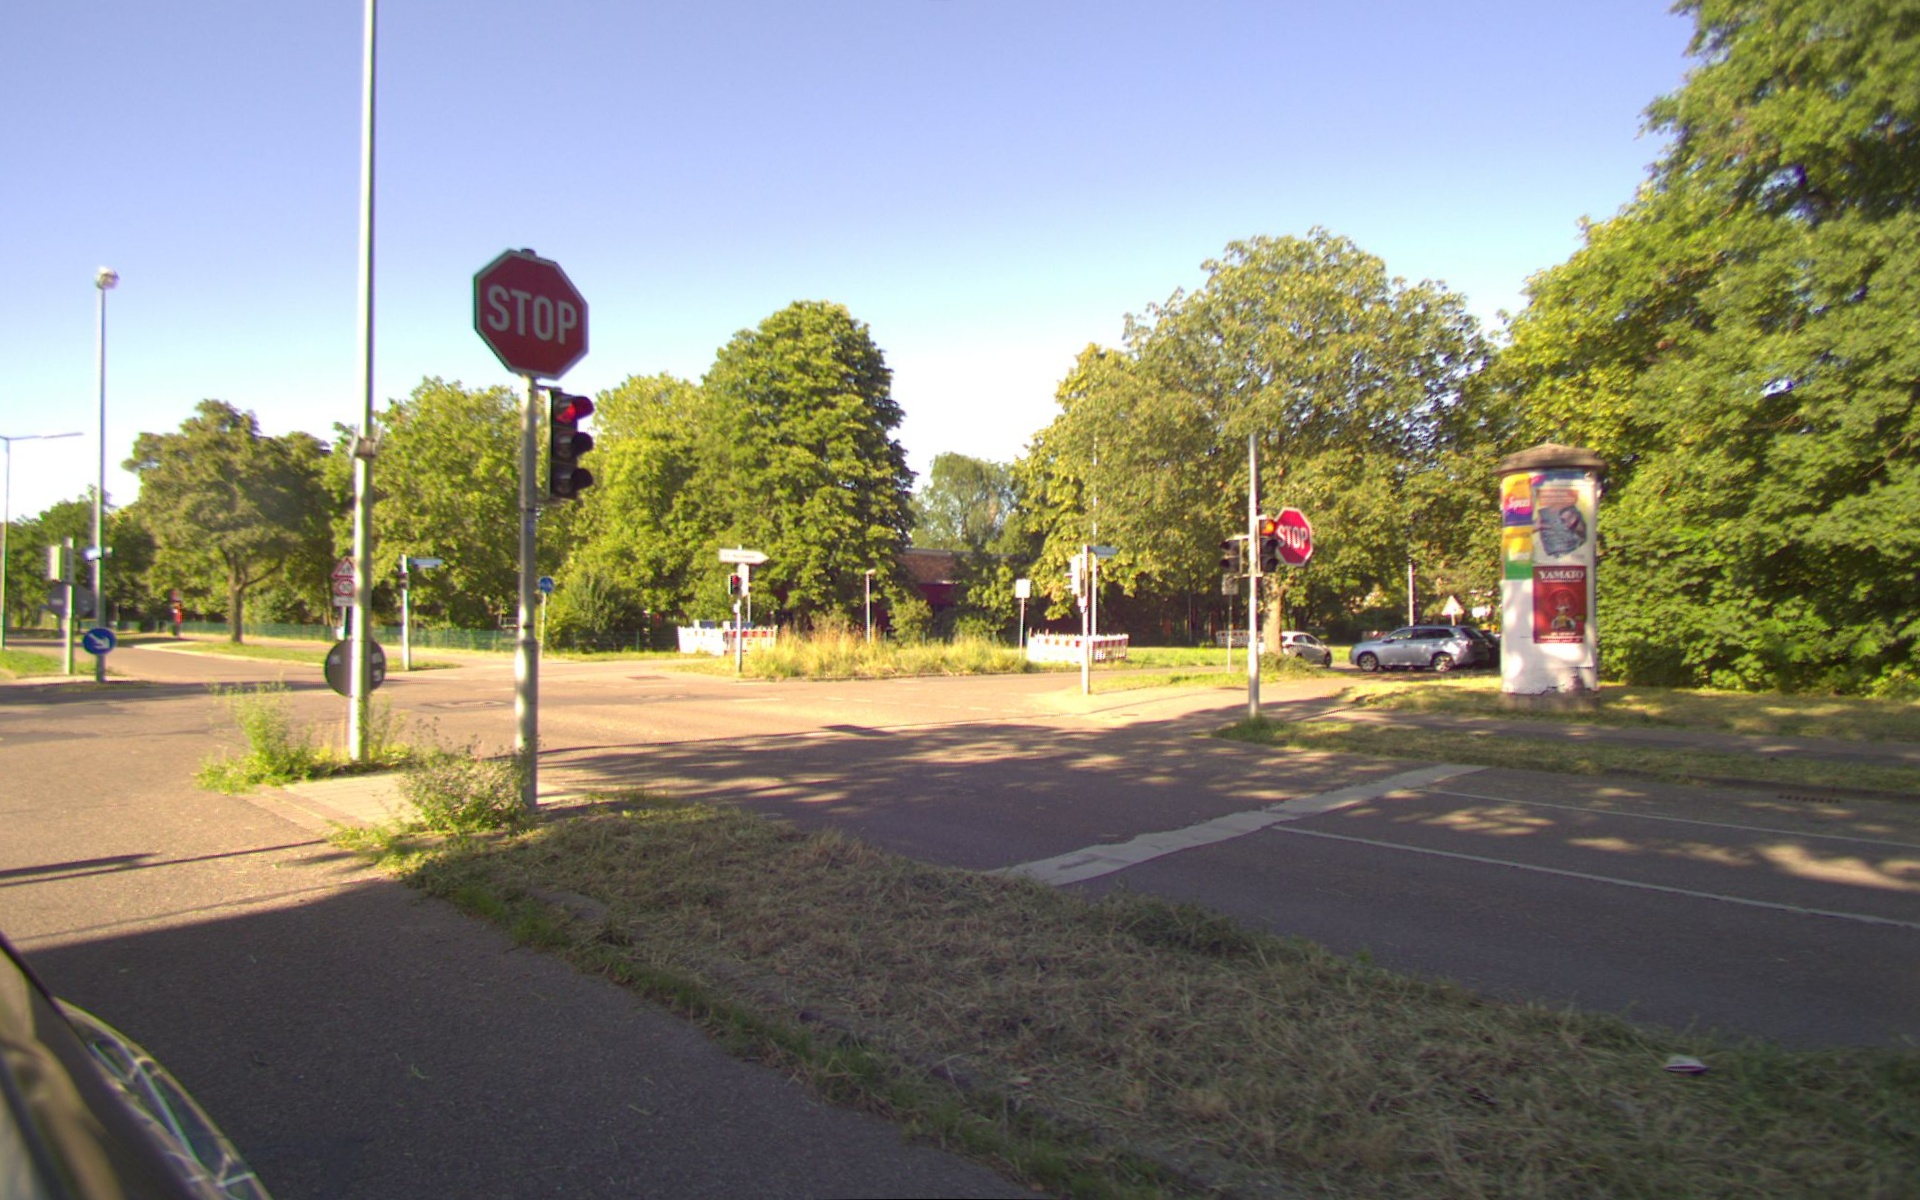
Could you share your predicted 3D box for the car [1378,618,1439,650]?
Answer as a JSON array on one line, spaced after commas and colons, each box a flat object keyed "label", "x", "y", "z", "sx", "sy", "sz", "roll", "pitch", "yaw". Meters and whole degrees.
[{"label": "car", "x": 26.505, "y": 2.015, "z": 59.775, "sx": 3.940, "sy": 1.830, "sz": 2.002, "roll": 3, "pitch": -3, "yaw": -44}]

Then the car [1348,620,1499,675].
[{"label": "car", "x": 16.296, "y": 1.629, "z": 35.786, "sx": 1.826, "sy": 1.796, "sz": 4.520, "roll": 2, "pitch": -2, "yaw": -40}]

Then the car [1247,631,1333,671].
[{"label": "car", "x": 13.430, "y": 2.029, "z": 41.105, "sx": 1.796, "sy": 1.474, "sz": 3.905, "roll": -1, "pitch": -1, "yaw": 45}]
